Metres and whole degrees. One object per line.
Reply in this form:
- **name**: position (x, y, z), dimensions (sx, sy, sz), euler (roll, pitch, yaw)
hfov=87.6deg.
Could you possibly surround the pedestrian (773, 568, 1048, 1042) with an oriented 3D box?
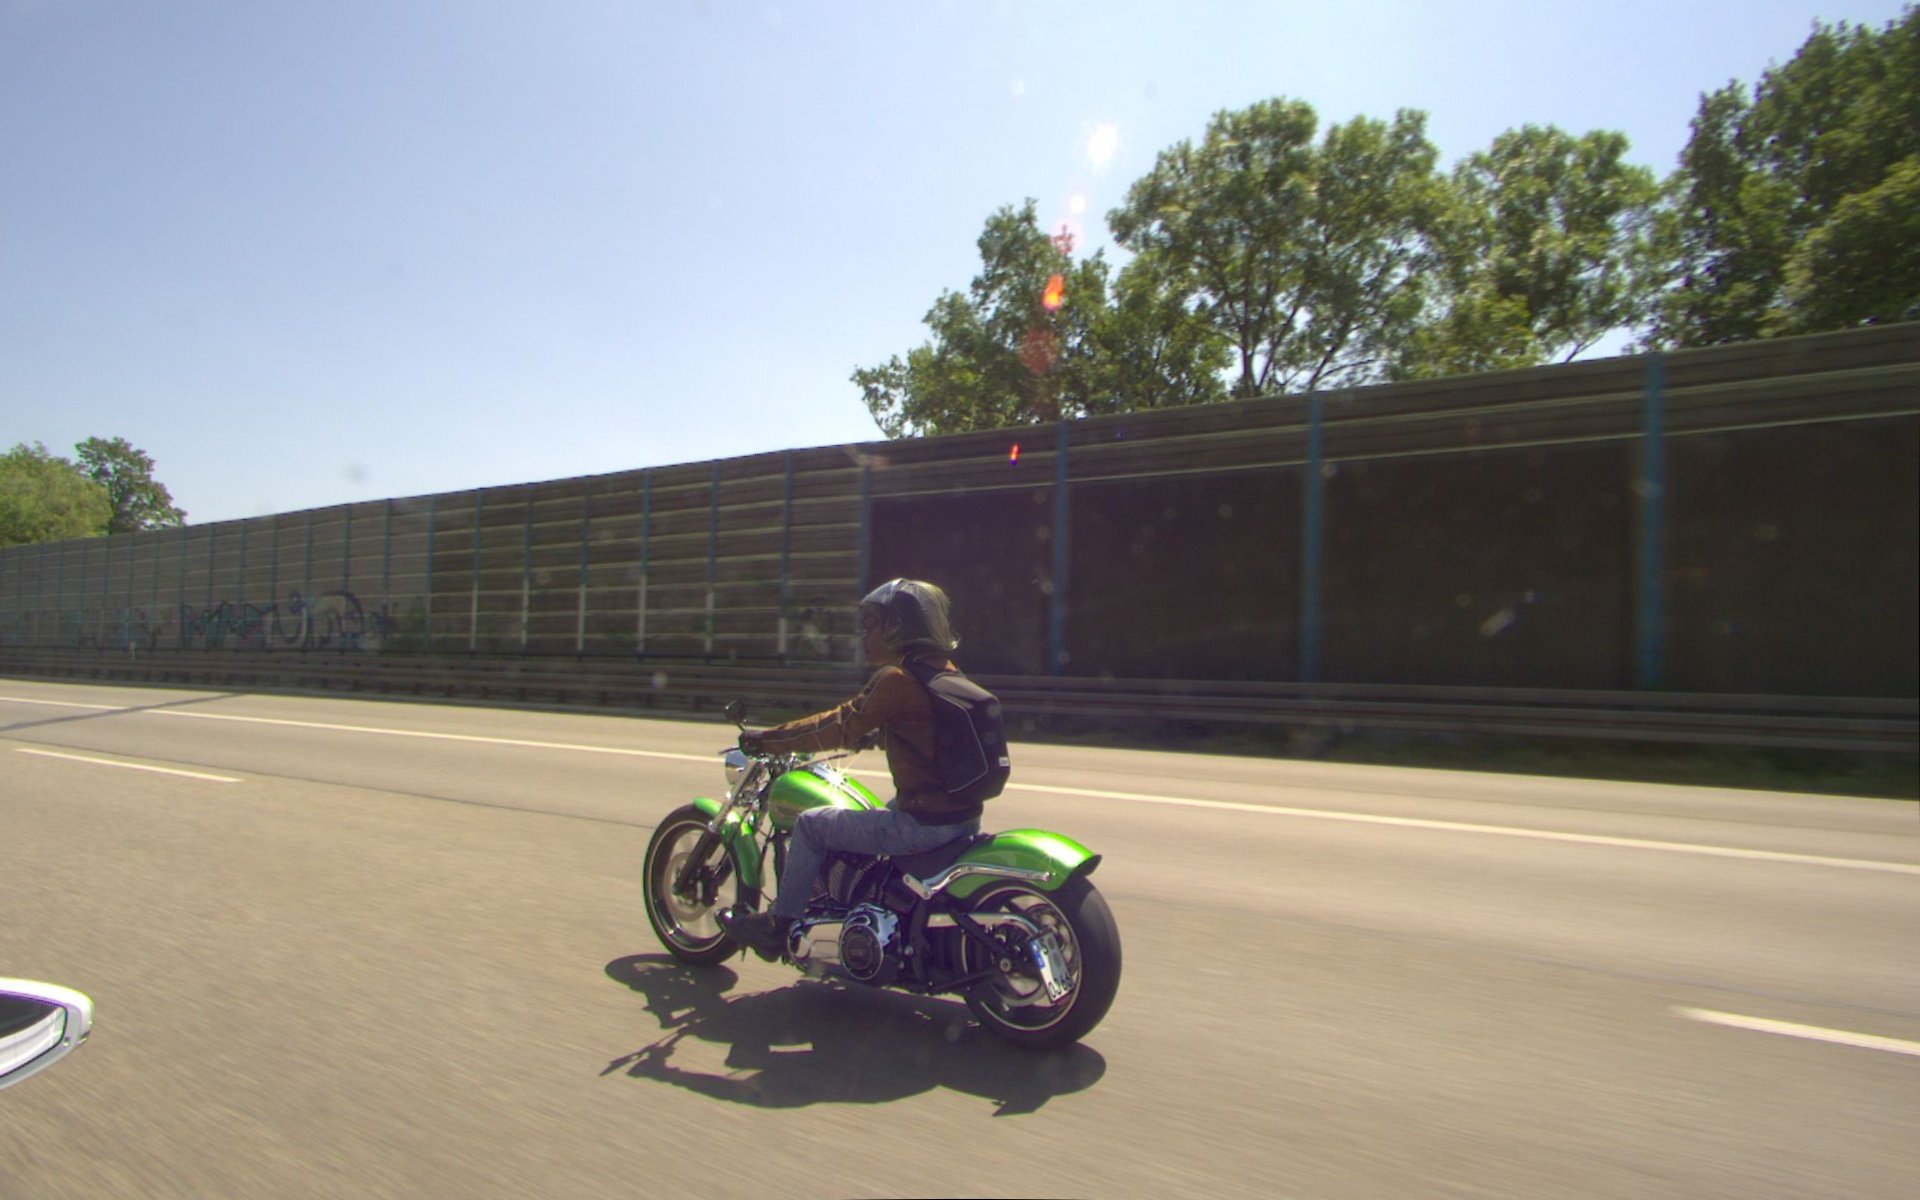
- **pedestrian**: position (-0.156, 0.663, 3.703), dimensions (0.629, 1.497, 0.850), euler (0, -1, 32)

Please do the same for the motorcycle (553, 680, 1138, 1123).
- **motorcycle**: position (-0.520, 0.967, 3.936), dimensions (2.244, 1.197, 0.858), euler (0, -2, 33)
